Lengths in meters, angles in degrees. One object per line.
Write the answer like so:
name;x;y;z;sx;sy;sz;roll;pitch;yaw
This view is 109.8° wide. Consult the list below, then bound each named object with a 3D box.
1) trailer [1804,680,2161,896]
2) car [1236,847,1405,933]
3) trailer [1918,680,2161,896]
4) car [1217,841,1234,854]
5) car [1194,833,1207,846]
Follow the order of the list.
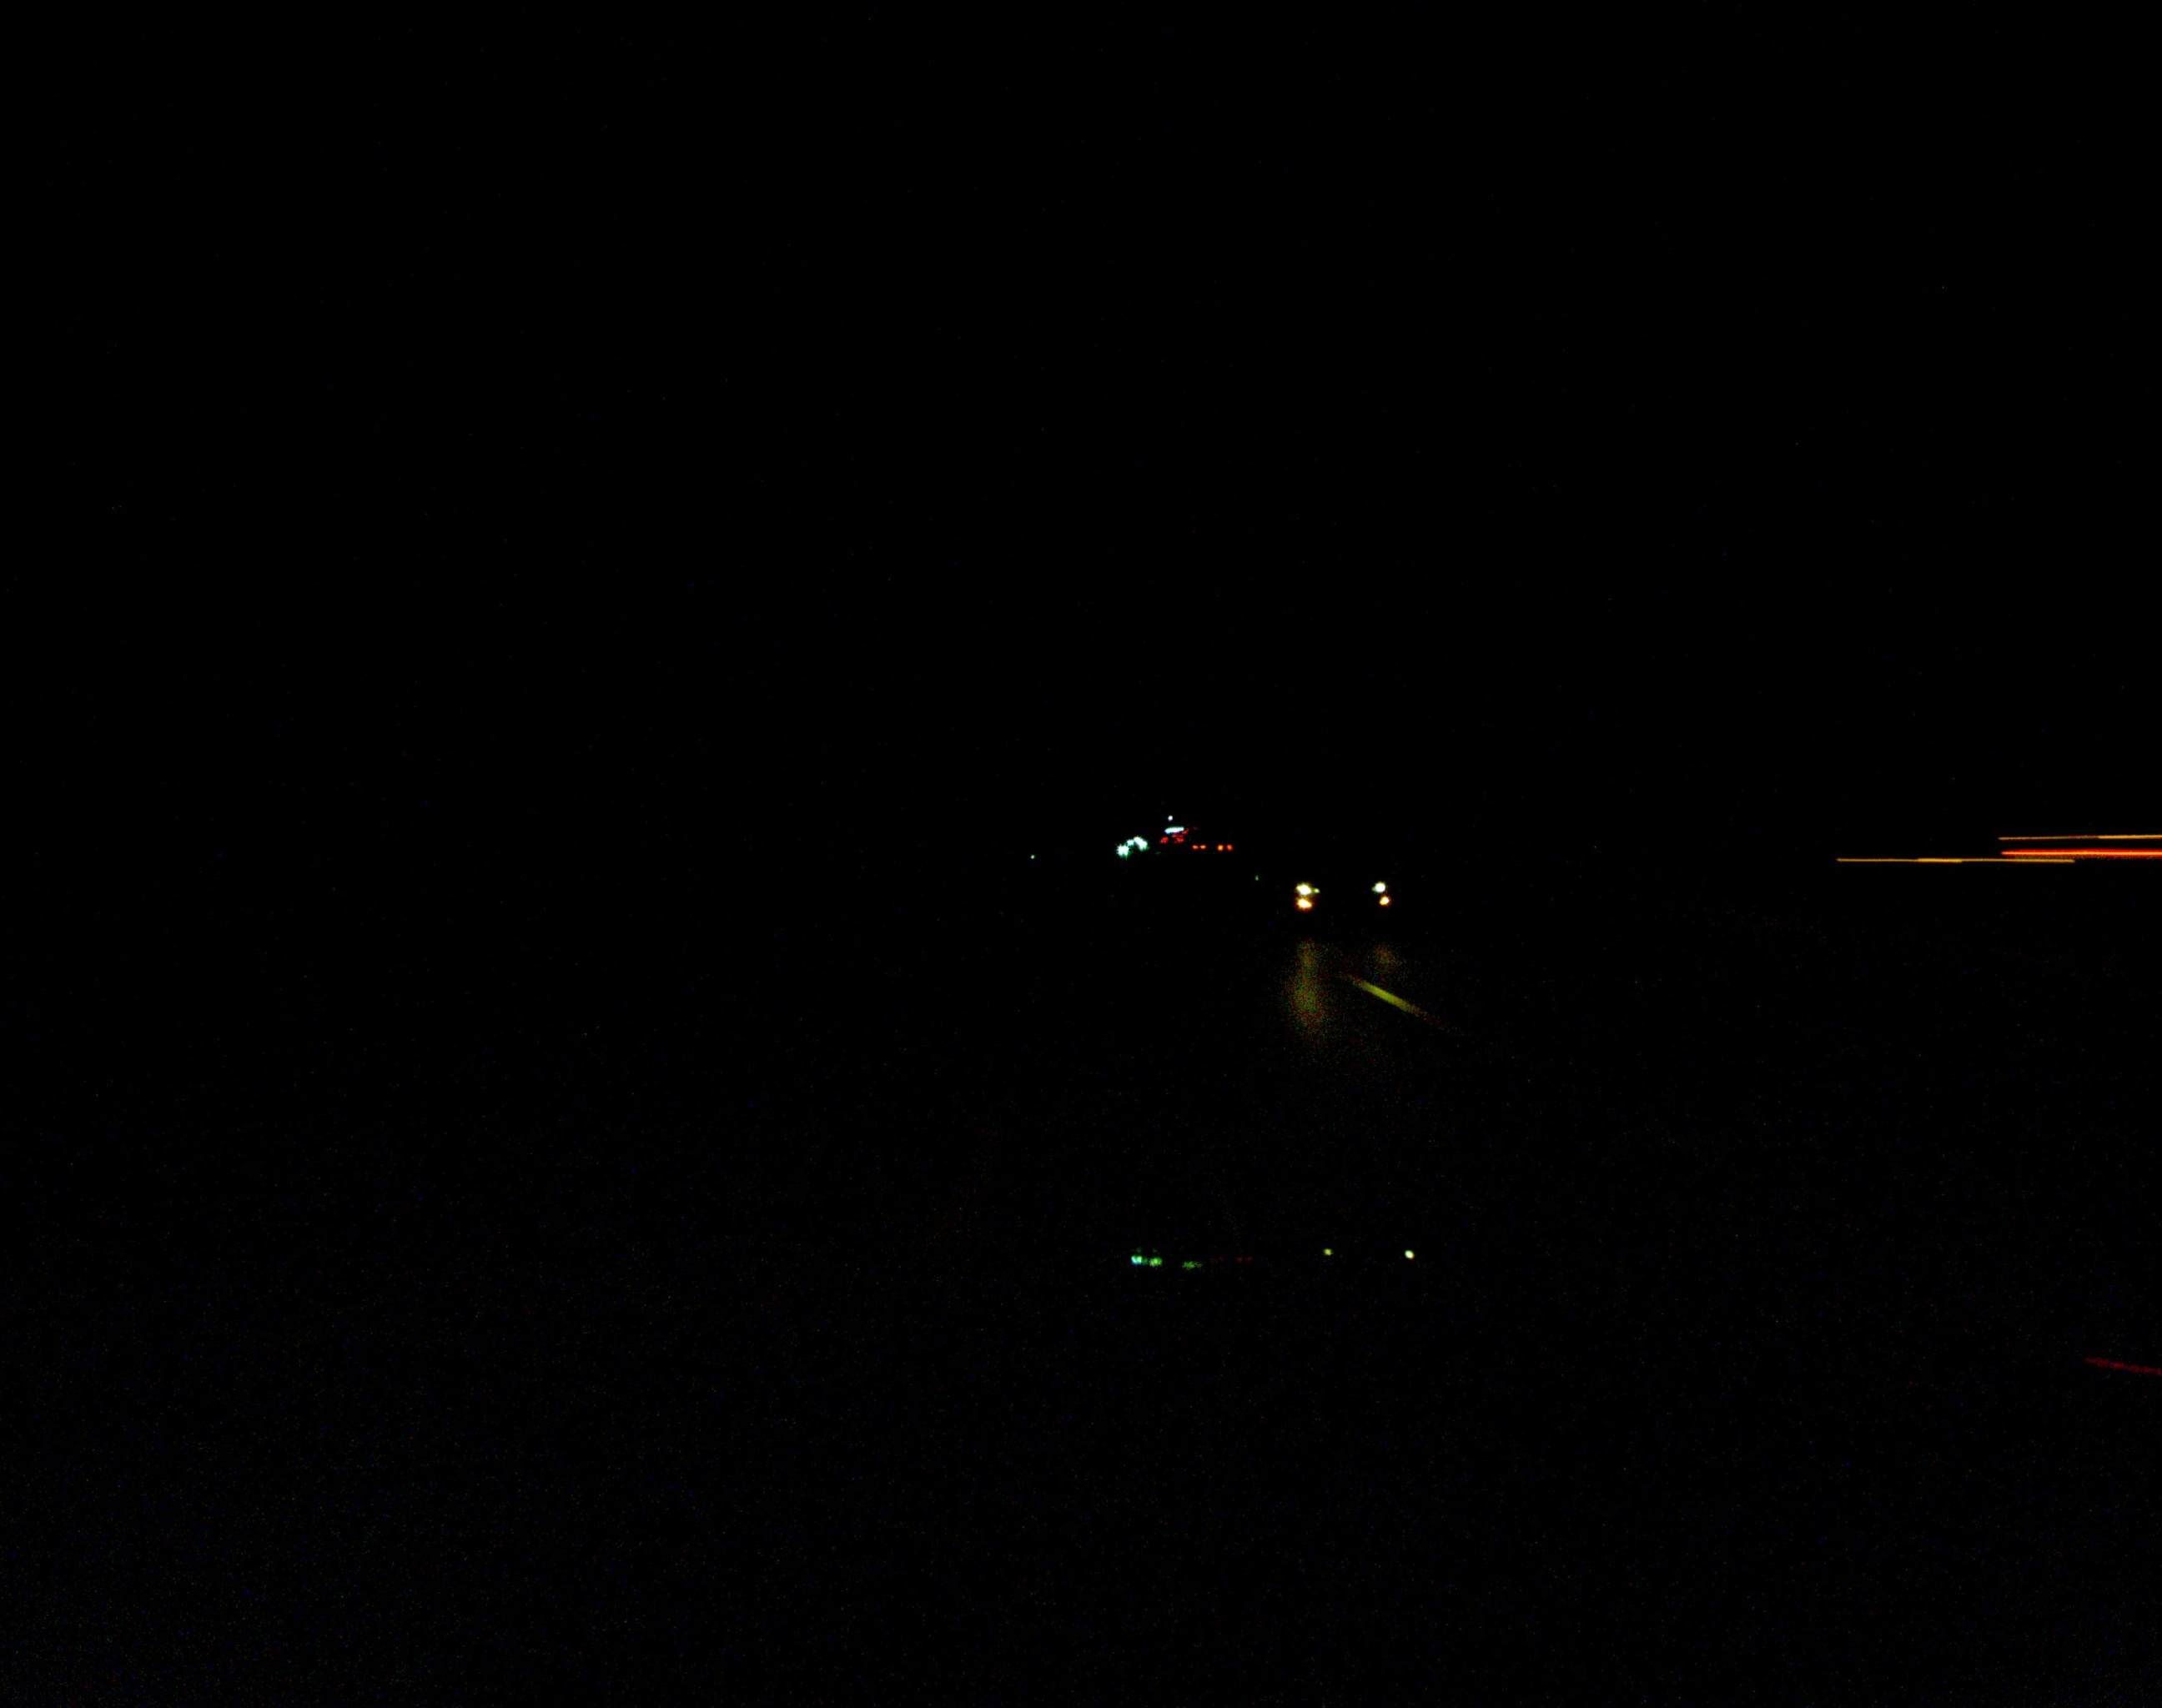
trailer;21.623;-1.282;17.245;3.438;3.957;7.352;-2;0;1
car;5.059;0.715;17.031;1.998;1.509;5.651;-3;-1;1
trailer;21.468;-1.247;10.986;3.438;3.957;14.048;-2;0;1
car;21.587;-0.975;113.670;1.827;1.684;4.672;-2;2;2
car;30.672;-3.719;195.140;2.657;3.067;8.217;-3;0;5
